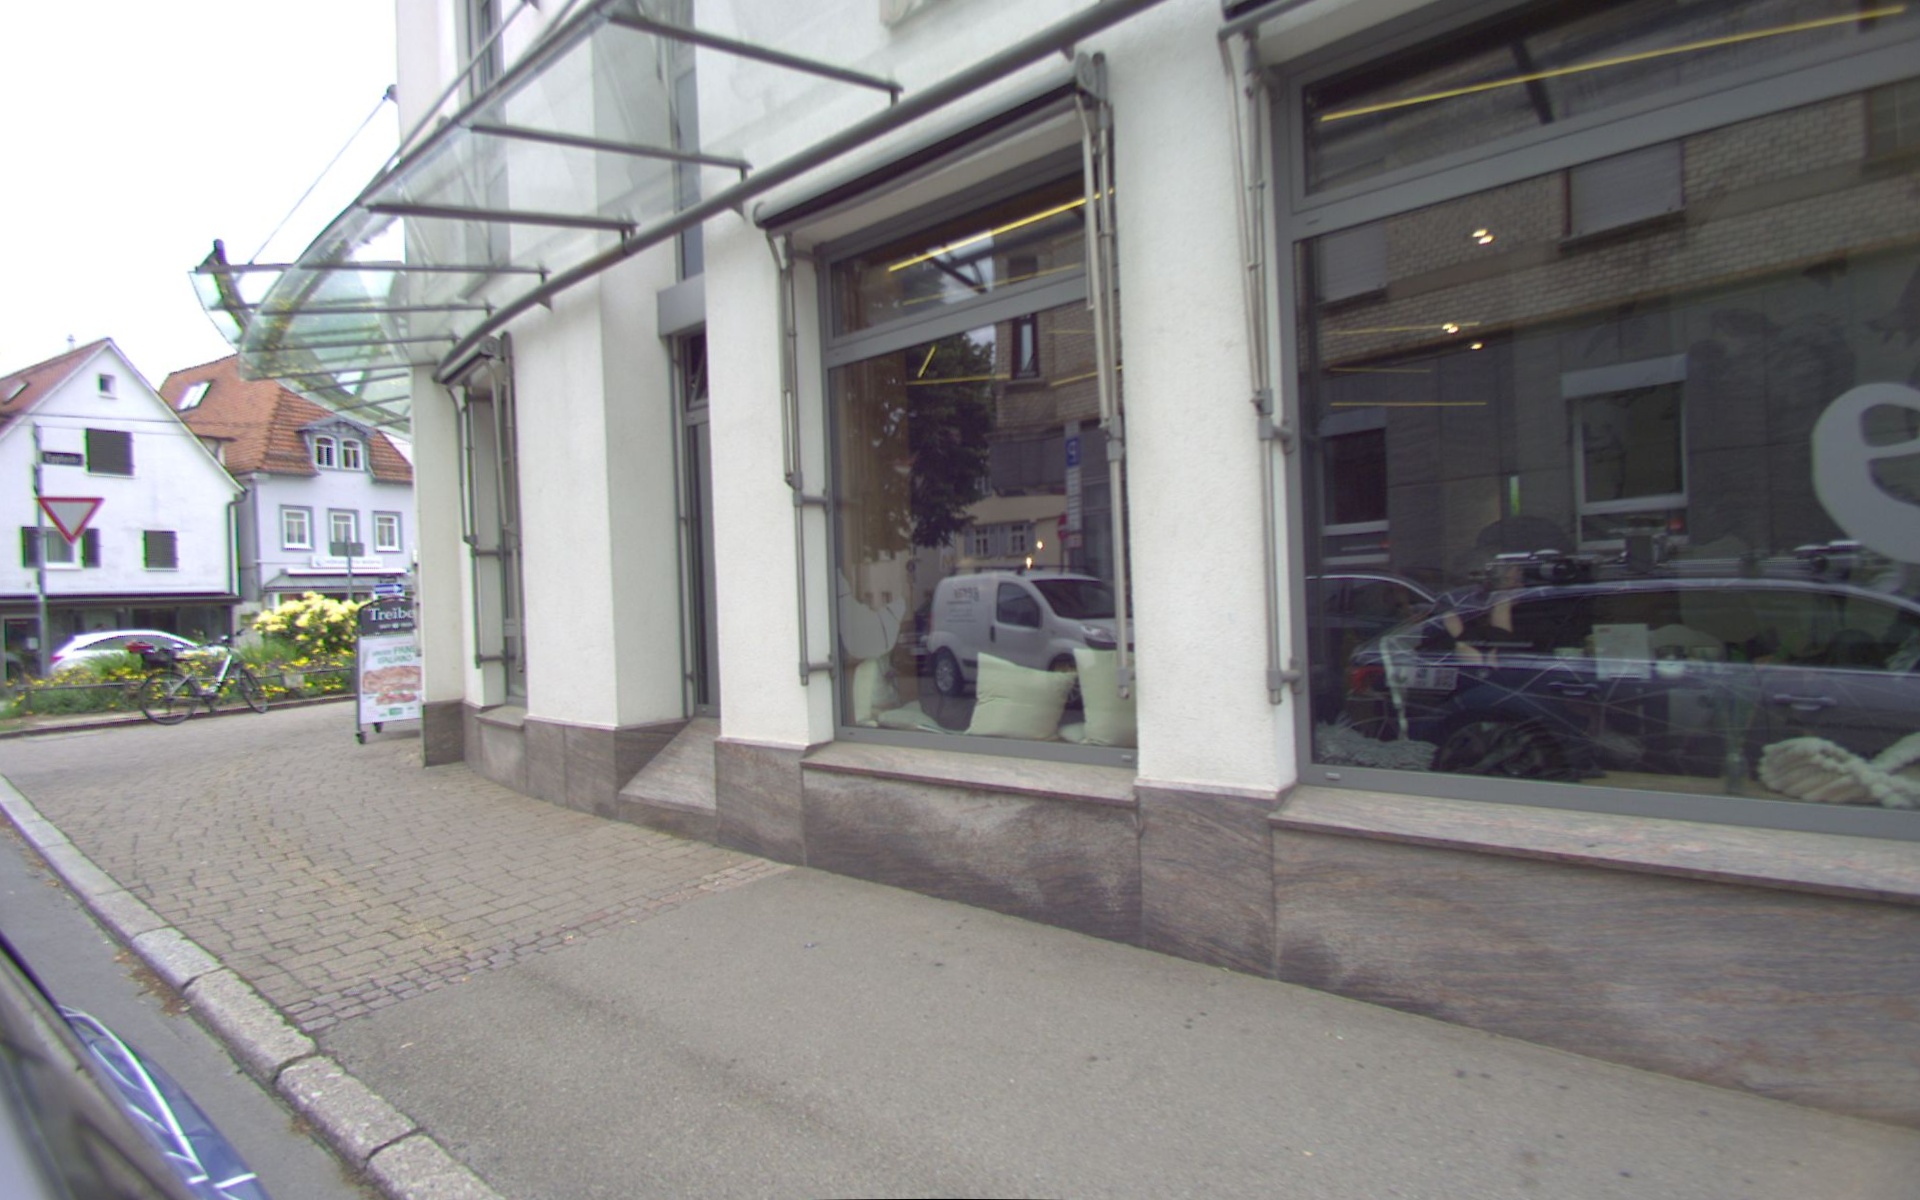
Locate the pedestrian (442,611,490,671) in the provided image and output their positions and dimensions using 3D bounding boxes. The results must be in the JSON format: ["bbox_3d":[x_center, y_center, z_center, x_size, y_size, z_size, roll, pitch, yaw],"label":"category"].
[{"bbox_3d":[-17.585,1.464,36.009,1.103,2.028,1.003,-4,0,33],"label":"pedestrian"}]

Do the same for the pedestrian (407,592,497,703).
[{"bbox_3d":[-7.356,0.678,14.680,0.858,1.537,0.700,-4,-1,12],"label":"pedestrian"}]

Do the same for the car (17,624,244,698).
[{"bbox_3d":[-19.651,1.391,24.220,3.933,1.365,1.761,-4,1,-32],"label":"car"}]

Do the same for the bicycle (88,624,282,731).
[{"bbox_3d":[-10.594,1.028,13.928,0.739,1.249,1.965,-4,0,24],"label":"bicycle"}]
